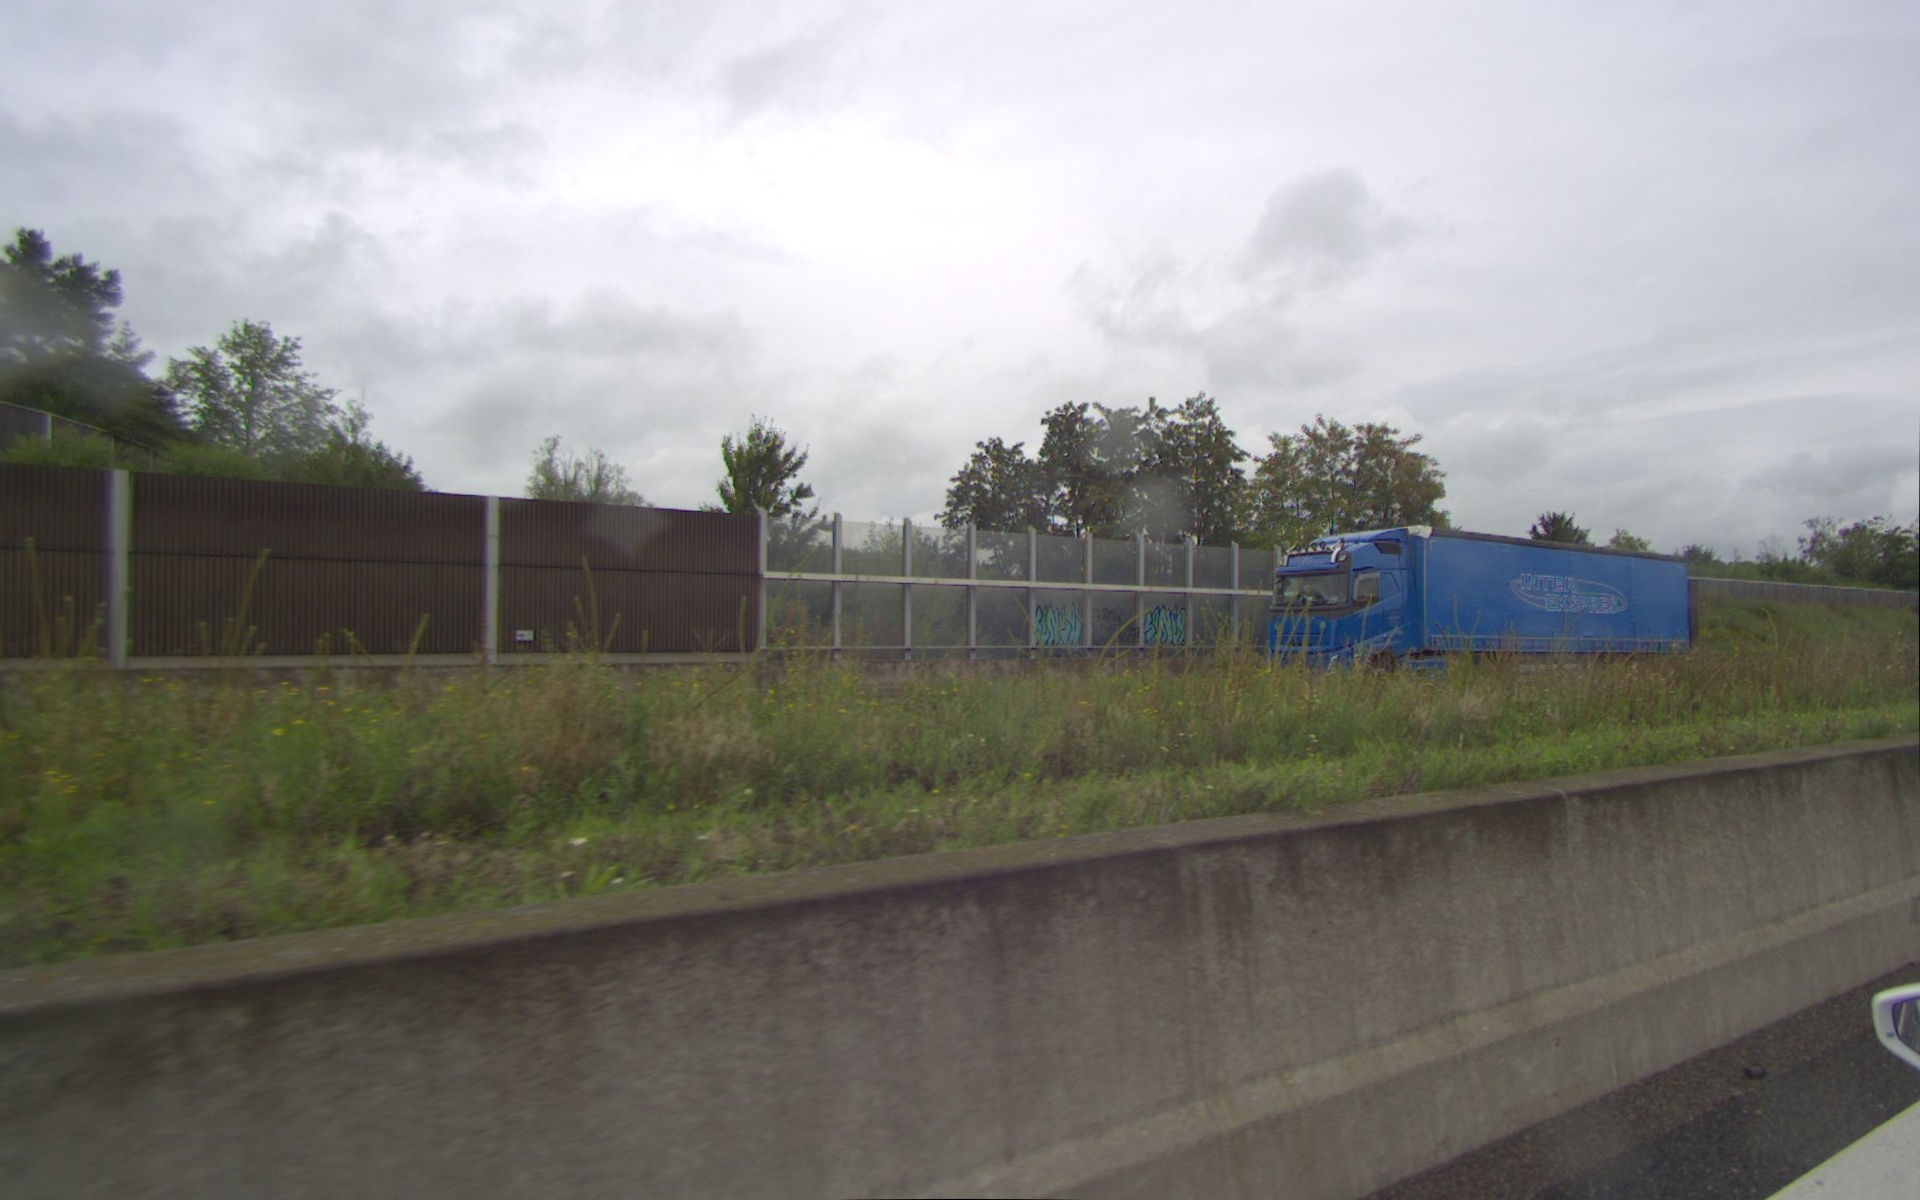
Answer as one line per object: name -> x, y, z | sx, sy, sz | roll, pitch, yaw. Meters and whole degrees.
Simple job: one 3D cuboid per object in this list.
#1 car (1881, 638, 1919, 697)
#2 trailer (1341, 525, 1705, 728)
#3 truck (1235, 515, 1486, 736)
car -> 27.447, 1.843, 27.449 | 4.761, 1.539, 1.985 | 1, 0, -29
trailer -> 16.854, 0.784, 29.377 | 13.378, 4.950, 3.199 | 2, 1, -32
truck -> 10.030, 0.595, 25.145 | 5.357, 4.923, 3.171 | 1, 1, -31
